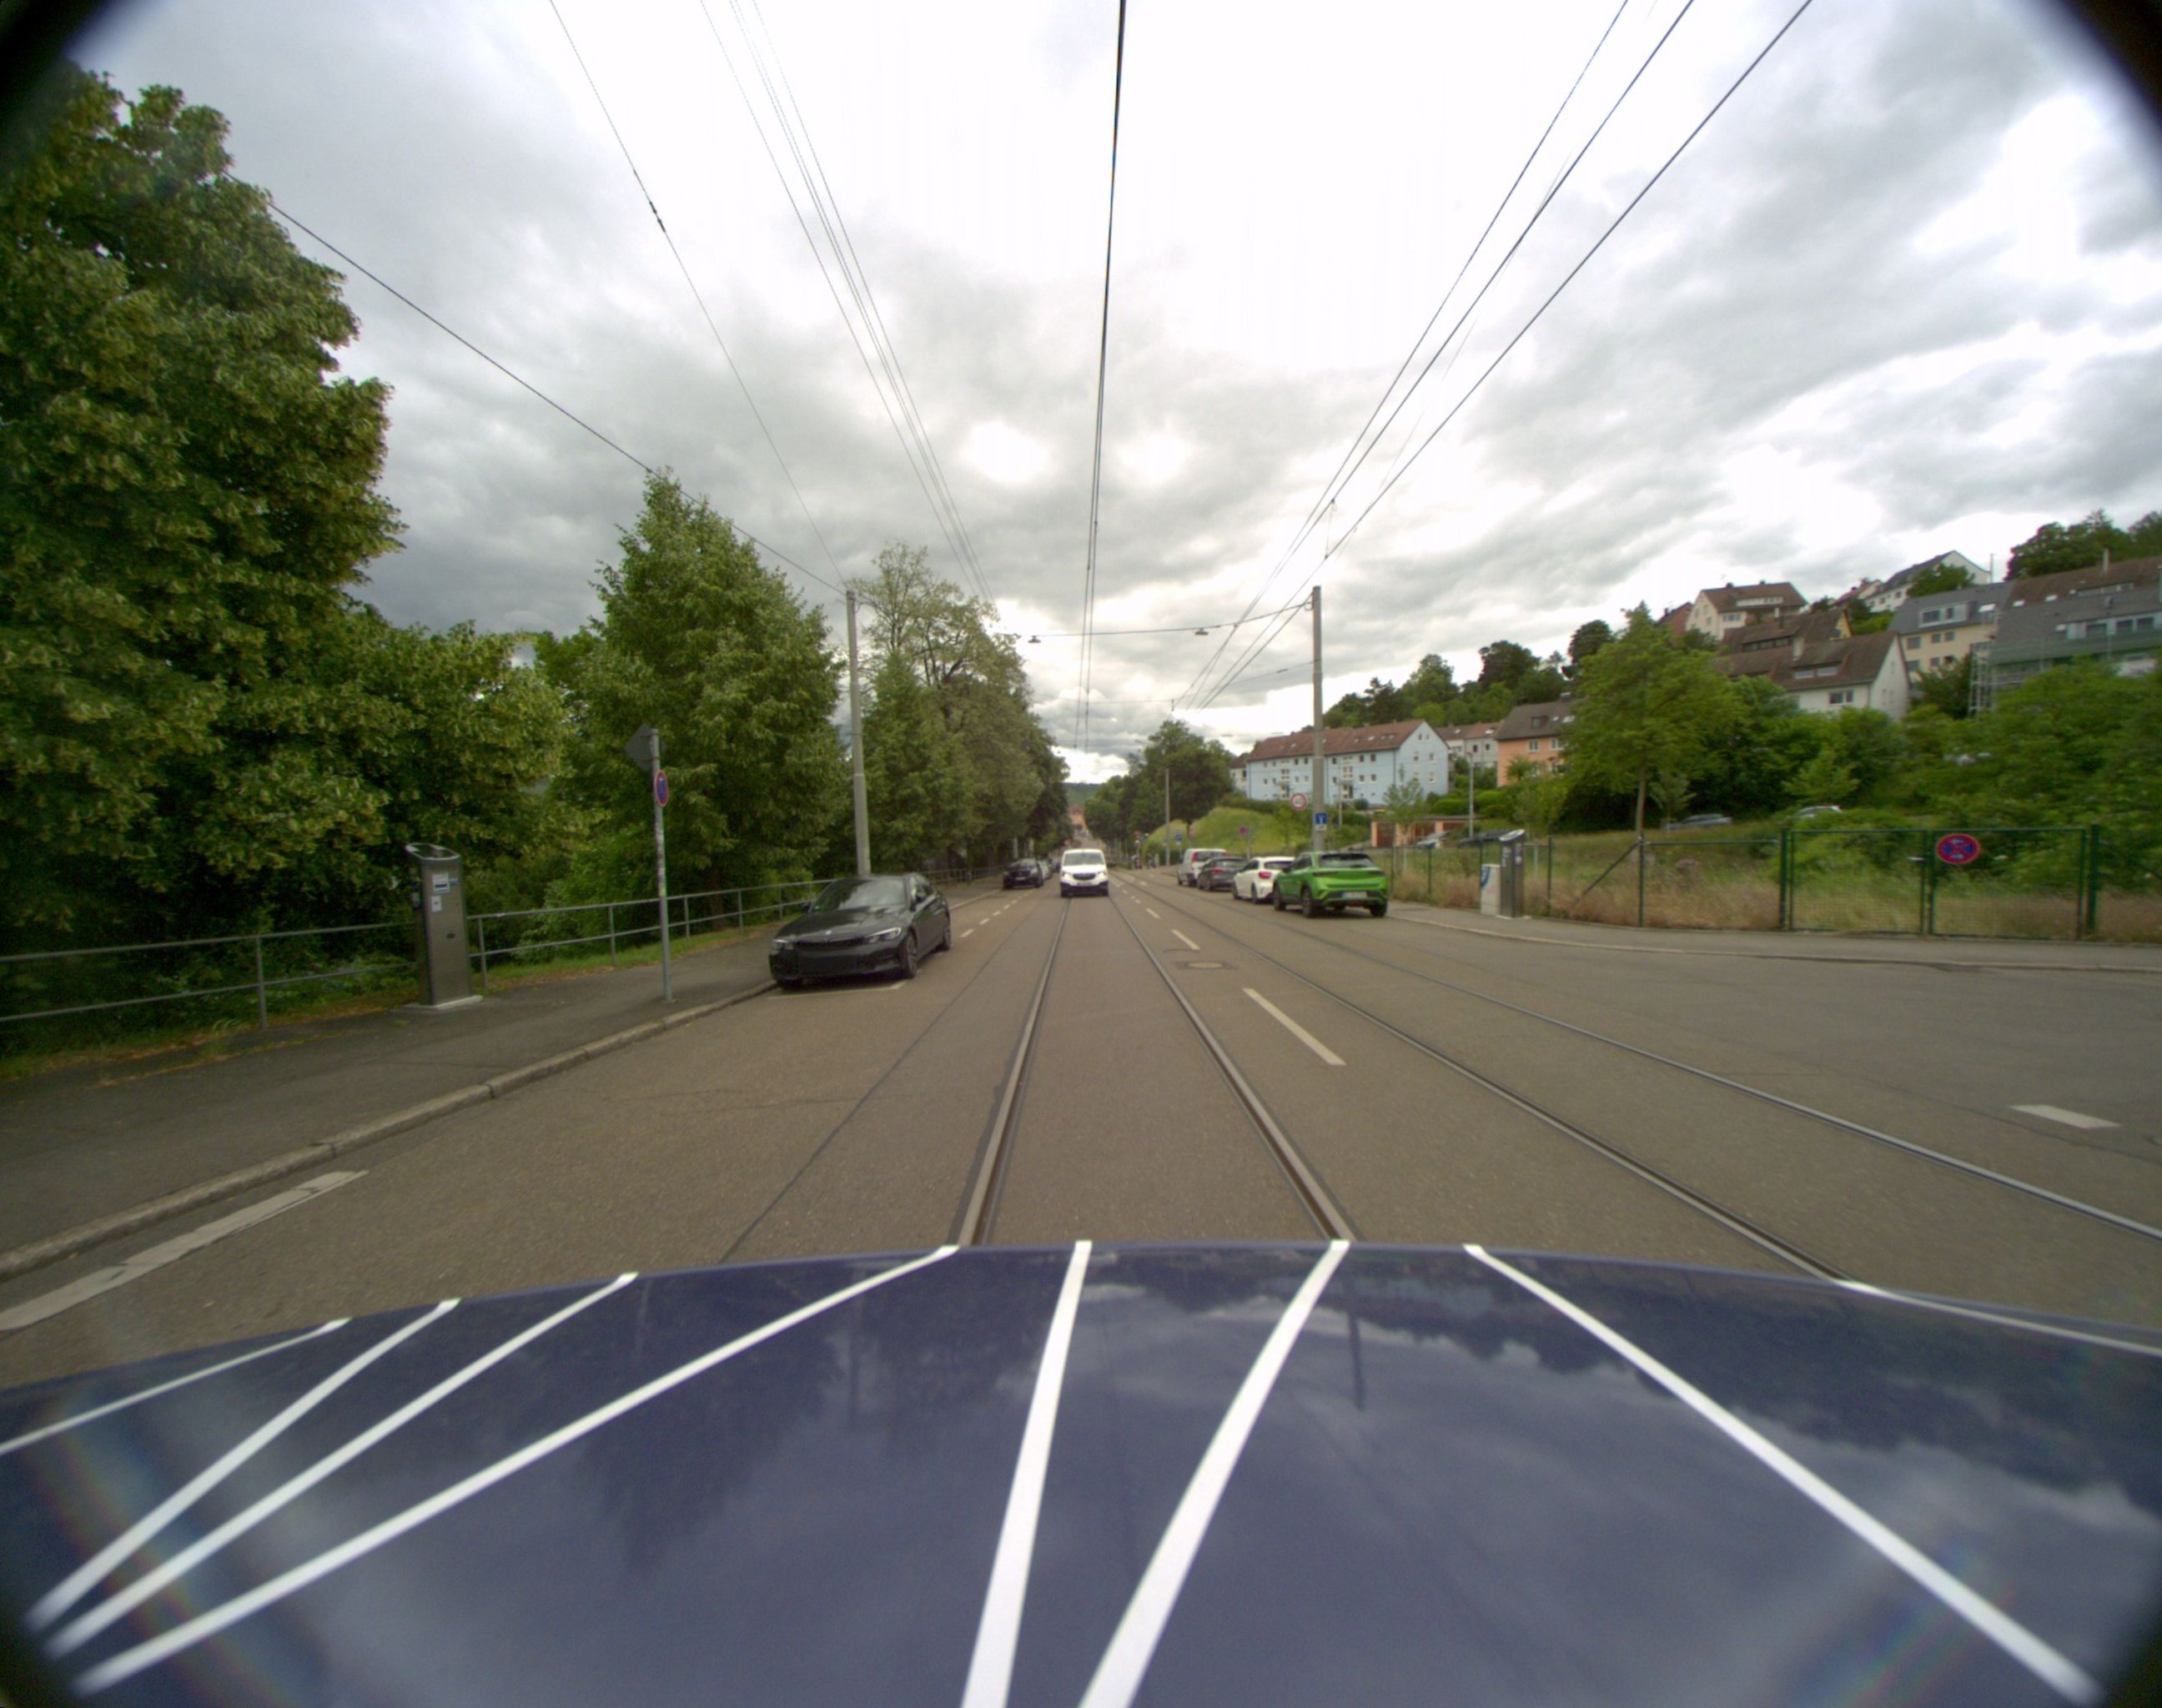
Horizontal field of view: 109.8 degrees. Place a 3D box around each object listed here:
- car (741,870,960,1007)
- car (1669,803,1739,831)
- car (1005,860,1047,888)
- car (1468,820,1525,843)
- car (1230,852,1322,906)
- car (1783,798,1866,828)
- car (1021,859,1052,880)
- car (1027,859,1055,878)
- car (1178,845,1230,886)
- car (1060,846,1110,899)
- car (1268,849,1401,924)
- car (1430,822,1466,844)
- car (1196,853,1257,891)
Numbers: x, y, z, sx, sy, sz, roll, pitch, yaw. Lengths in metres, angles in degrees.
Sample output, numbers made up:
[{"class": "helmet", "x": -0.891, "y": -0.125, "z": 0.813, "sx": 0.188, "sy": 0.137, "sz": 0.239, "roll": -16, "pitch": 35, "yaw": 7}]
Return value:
[{"class": "car", "x": -3.200, "y": 1.098, "z": 11.598, "sx": 1.863, "sy": 1.434, "sz": 4.388, "roll": -4, "pitch": 0, "yaw": 1}, {"class": "car", "x": 46.851, "y": -2.727, "z": 57.178, "sx": 3.989, "sy": 1.893, "sz": 2.004, "roll": -1, "pitch": 1, "yaw": 39}, {"class": "car", "x": -2.959, "y": 1.073, "z": 41.647, "sx": 1.822, "sy": 1.344, "sz": 3.940, "roll": -3, "pitch": 0, "yaw": 2}, {"class": "car", "x": 35.937, "y": -1.929, "z": 65.735, "sx": 3.989, "sy": 1.893, "sz": 2.004, "roll": -1, "pitch": 1, "yaw": 39}, {"class": "car", "x": 5.981, "y": 0.706, "z": 23.770, "sx": 1.856, "sy": 1.485, "sz": 3.947, "roll": 1, "pitch": 1, "yaw": 0}, {"class": "car", "x": 52.043, "y": -2.851, "z": 53.309, "sx": 3.989, "sy": 1.893, "sz": 2.004, "roll": -1, "pitch": 1, "yaw": 39}, {"class": "car", "x": -3.101, "y": 1.076, "z": 53.732, "sx": 1.822, "sy": 1.344, "sz": 3.940, "roll": -3, "pitch": 0, "yaw": 2}, {"class": "car", "x": -3.052, "y": 1.103, "z": 58.775, "sx": 1.822, "sy": 1.344, "sz": 3.940, "roll": -3, "pitch": 0, "yaw": 2}, {"class": "car", "x": 6.061, "y": 0.516, "z": 37.842, "sx": 1.901, "sy": 1.935, "sz": 4.290, "roll": 1, "pitch": 1, "yaw": 0}, {"class": "car", "x": 0.210, "y": 0.635, "z": 29.444, "sx": 1.759, "sy": 1.824, "sz": 4.448, "roll": -2, "pitch": 1, "yaw": 2}, {"class": "car", "x": 5.867, "y": 0.688, "z": 18.099, "sx": 1.856, "sy": 1.532, "sz": 3.948, "roll": -1, "pitch": 0, "yaw": 0}, {"class": "car", "x": 33.531, "y": -1.881, "z": 69.394, "sx": 1.994, "sy": 1.893, "sz": 4.008, "roll": -1, "pitch": 1, "yaw": 39}, {"class": "car", "x": 6.119, "y": 0.728, "z": 32.359, "sx": 1.856, "sy": 1.485, "sz": 3.947, "roll": 1, "pitch": 1, "yaw": 0}]
